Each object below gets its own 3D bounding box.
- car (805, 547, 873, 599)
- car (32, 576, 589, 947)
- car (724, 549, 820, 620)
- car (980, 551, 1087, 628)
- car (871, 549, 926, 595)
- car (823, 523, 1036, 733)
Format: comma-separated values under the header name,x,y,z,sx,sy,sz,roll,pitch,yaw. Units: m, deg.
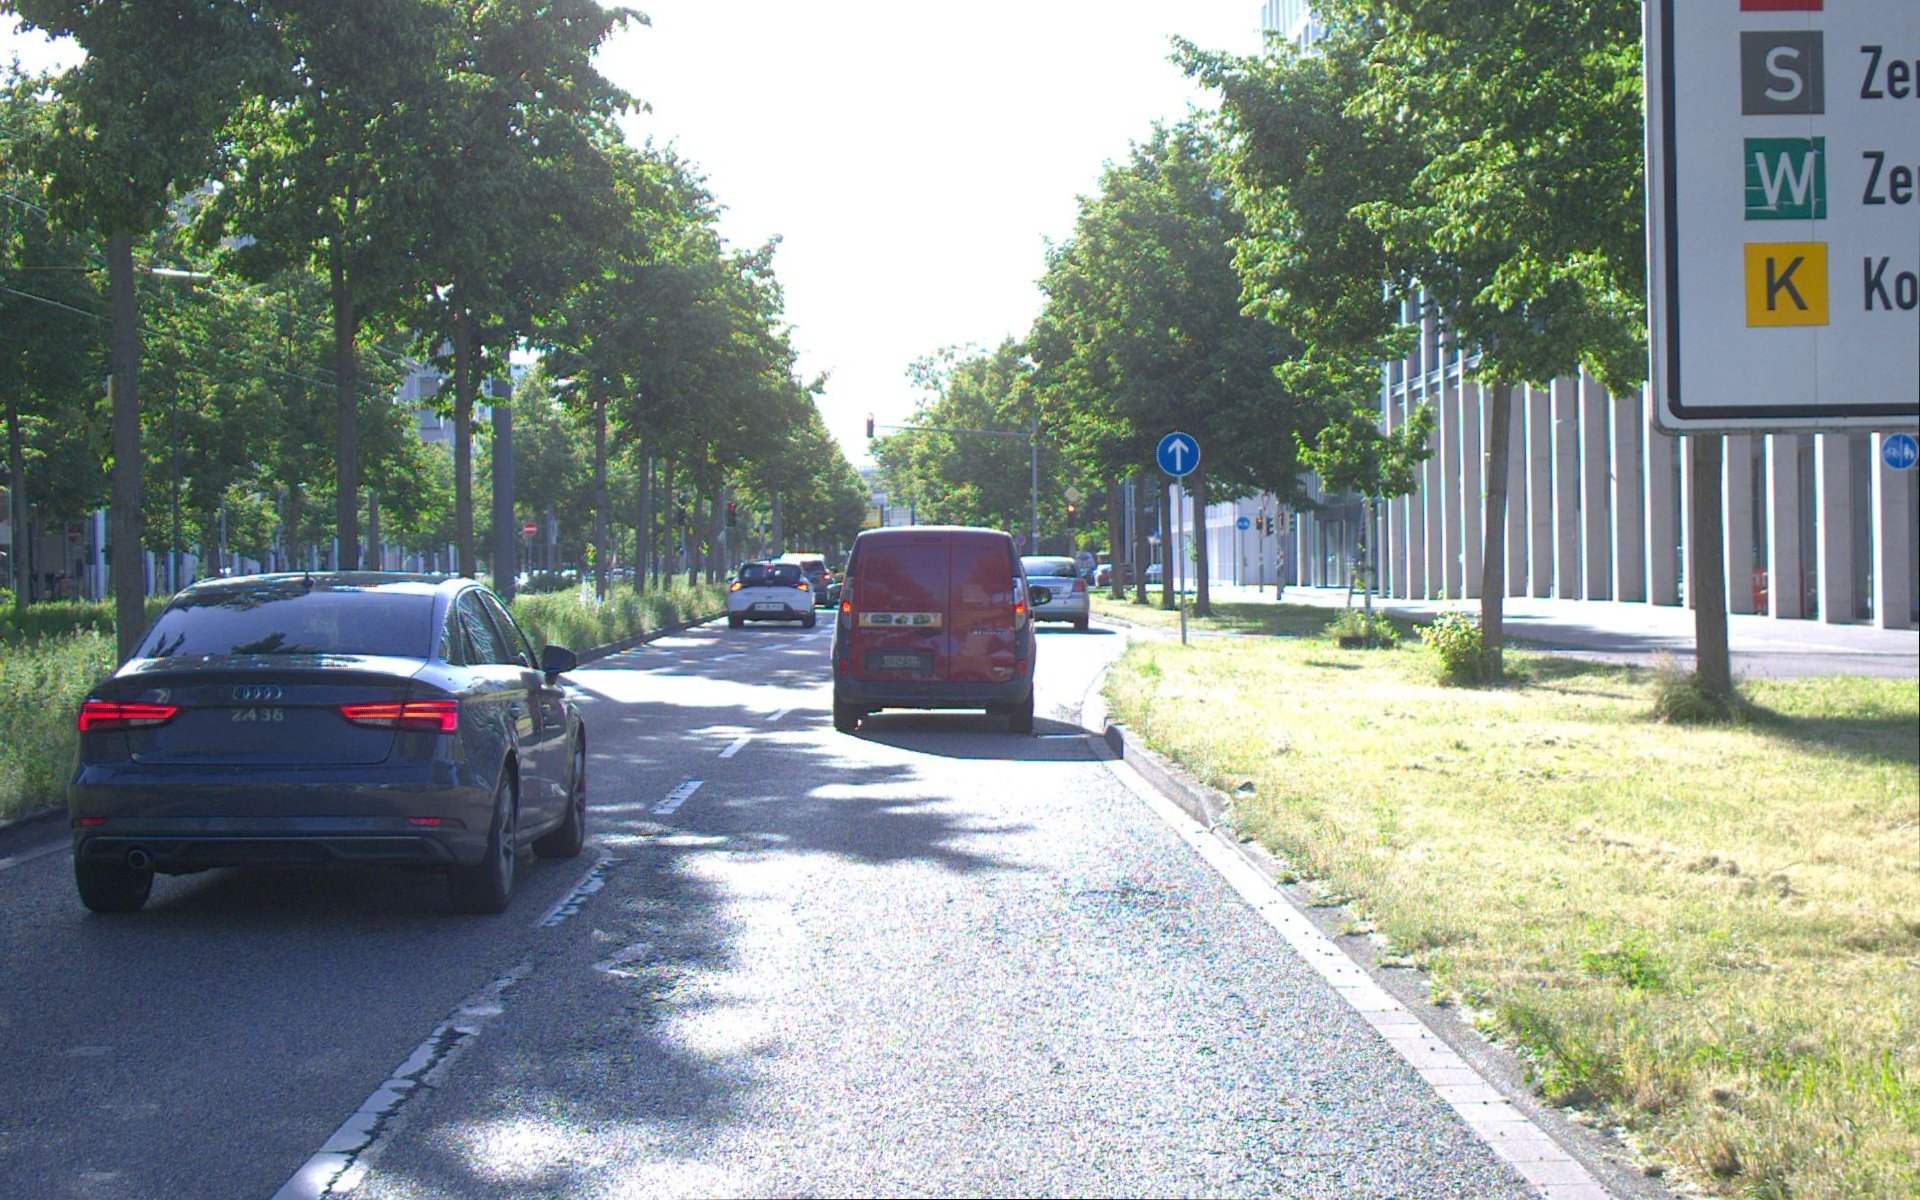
name,x,y,z,sx,sy,sz,roll,pitch,yaw
car,-3.592,-0.814,102.536,1.843,1.529,3.940,0,1,0
car,-2.692,0.601,15.141,1.721,1.361,4.146,0,1,-1
car,-3.956,-0.354,72.530,1.942,1.436,4.001,-1,1,-3
car,1.451,-0.231,69.277,1.720,1.420,3.817,1,2,-5
car,-1.975,-0.910,109.839,1.721,1.420,3.817,-1,1,-1
car,-0.303,0.212,31.199,1.797,1.771,4.000,0,1,-1
